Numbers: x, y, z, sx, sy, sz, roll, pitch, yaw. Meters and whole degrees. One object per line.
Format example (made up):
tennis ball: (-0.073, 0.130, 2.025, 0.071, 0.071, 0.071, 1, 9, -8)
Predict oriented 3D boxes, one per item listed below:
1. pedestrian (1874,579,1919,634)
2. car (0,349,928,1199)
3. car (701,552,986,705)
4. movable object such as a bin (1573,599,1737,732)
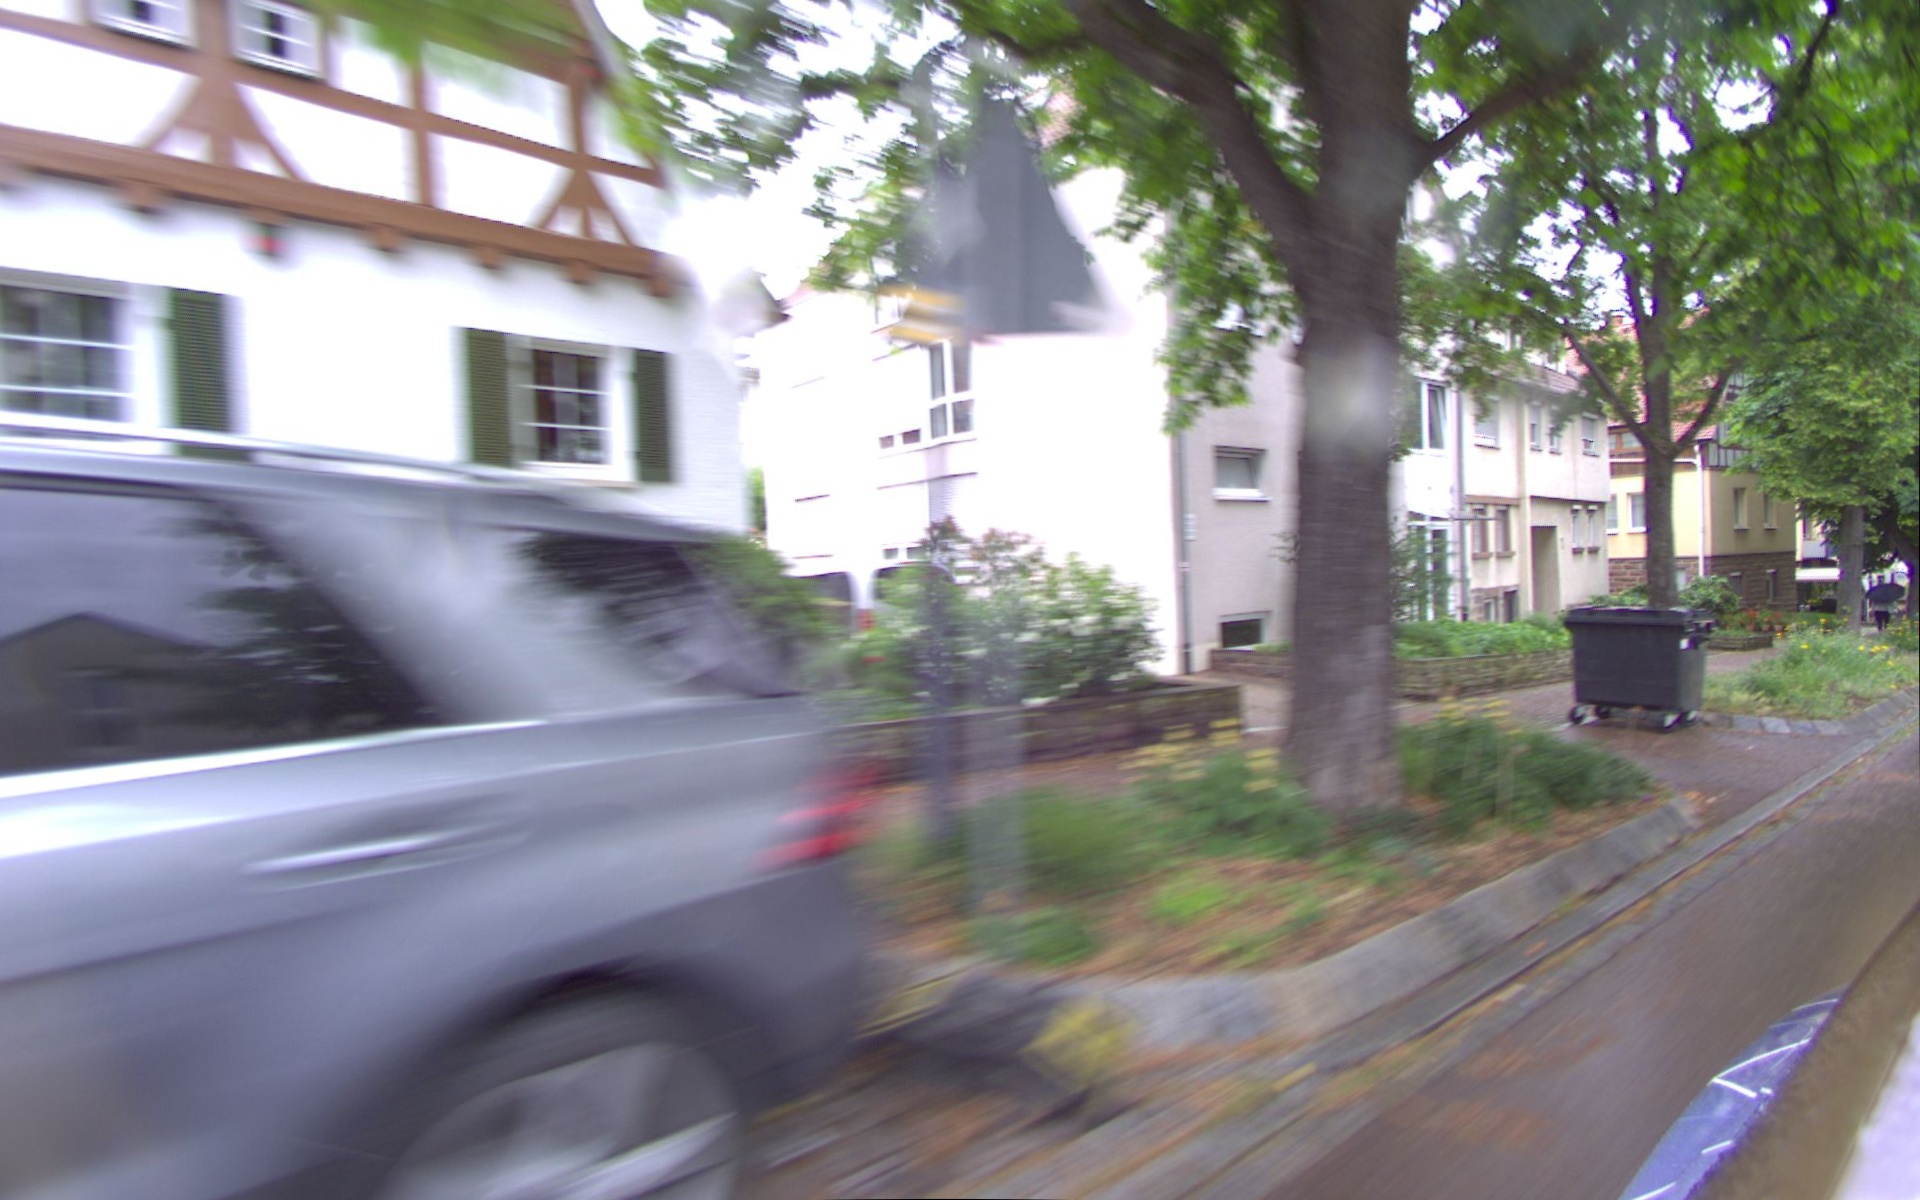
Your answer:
pedestrian: (29.139, 0.174, 31.372, 0.778, 1.672, 0.959, 0, 1, -27)
car: (-2.344, 0.599, 1.530, 4.411, 1.815, 1.917, 0, 0, -42)
car: (-1.888, 0.483, 15.034, 1.965, 1.925, 4.466, -1, -3, -41)
movable object such as a bin: (7.667, 0.665, 11.185, 1.113, 1.332, 1.228, -1, 1, -38)
